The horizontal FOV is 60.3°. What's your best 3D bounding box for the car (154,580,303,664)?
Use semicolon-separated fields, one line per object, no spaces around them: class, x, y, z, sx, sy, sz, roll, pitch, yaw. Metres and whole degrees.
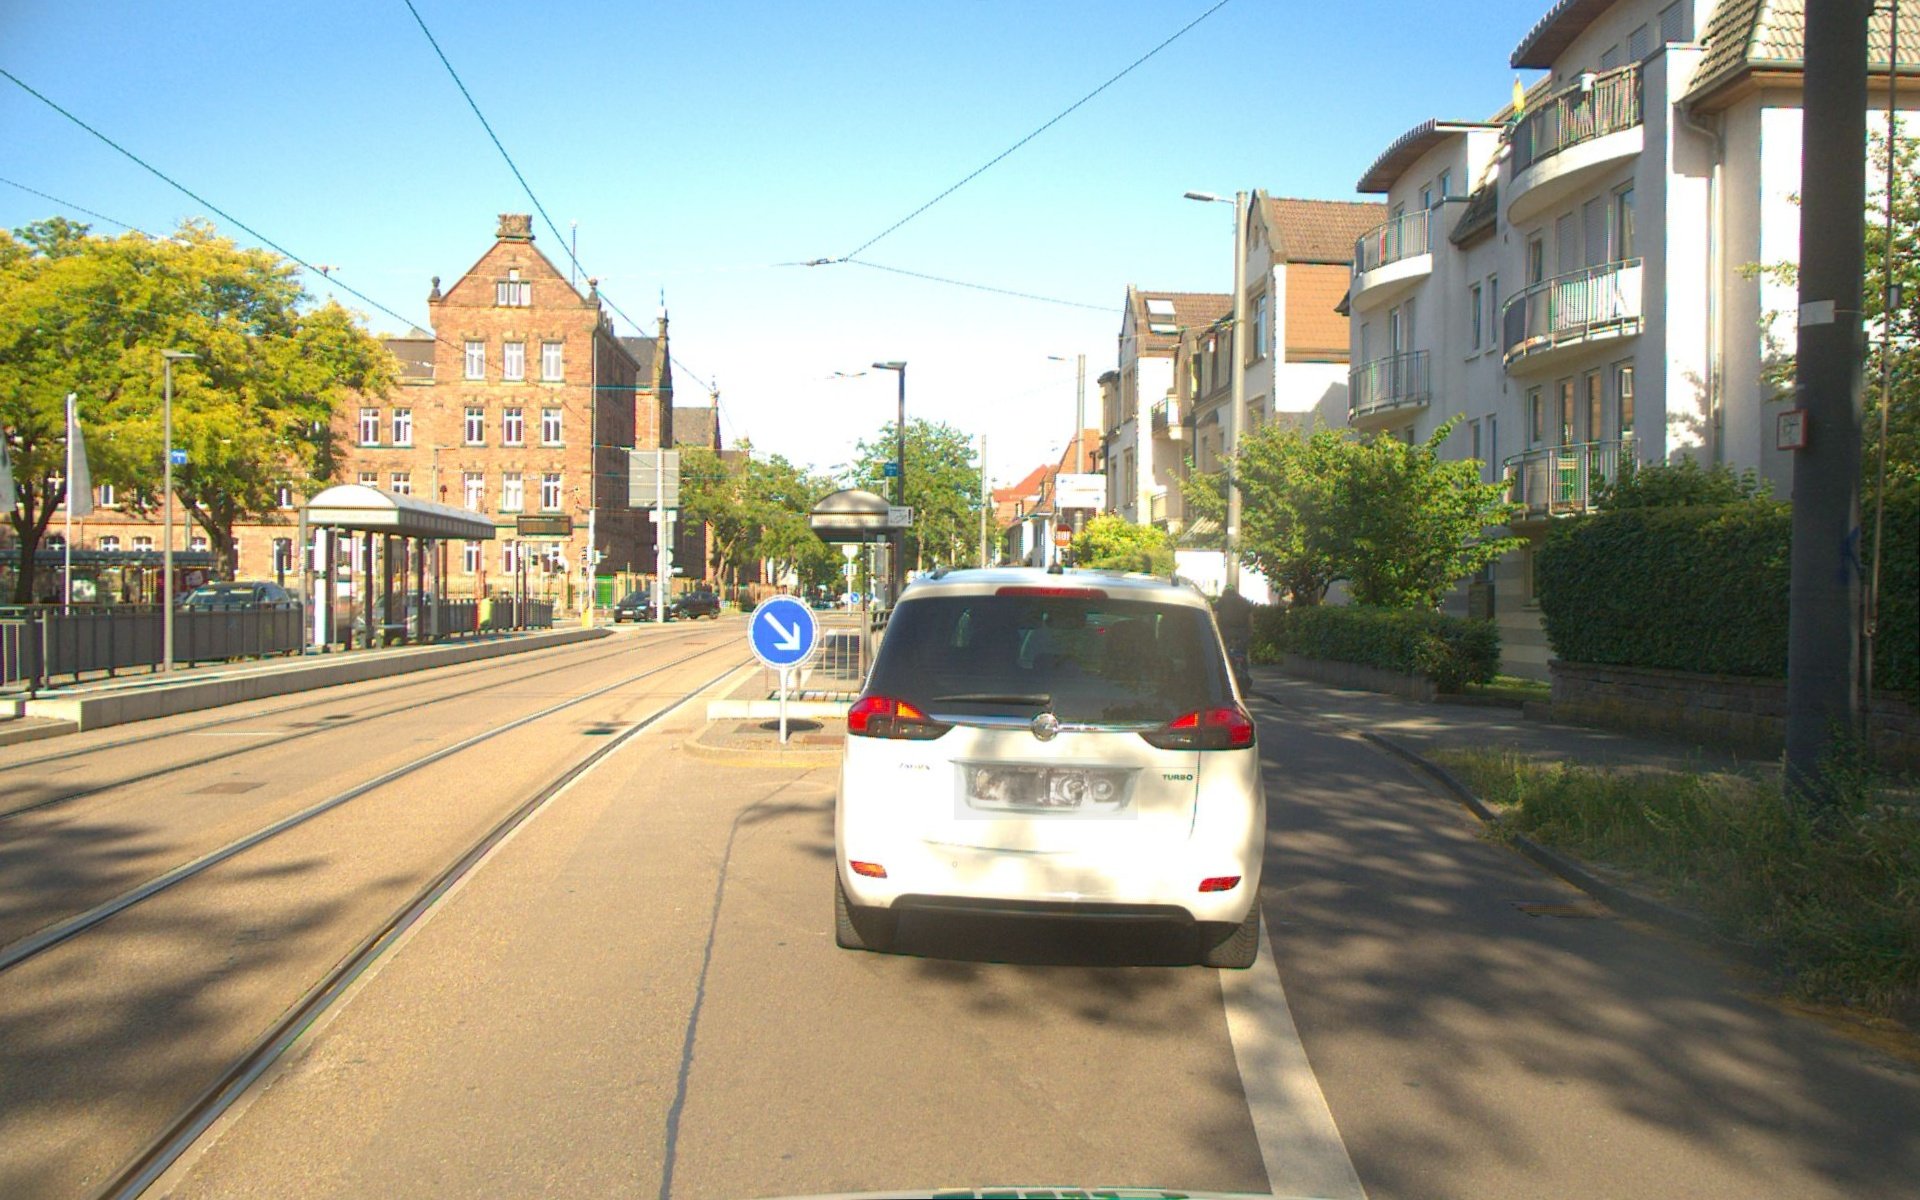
car;-15.521;0.434;35.309;1.762;1.666;4.112;-1;0;-7

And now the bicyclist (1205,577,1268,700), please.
bicyclist;3.857;0.530;23.147;0.671;1.663;1.015;1;0;-1

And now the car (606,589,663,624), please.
car;-15.386;0.300;78.360;1.953;1.573;3.999;1;0;-1

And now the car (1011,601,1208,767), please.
car;1.393;0.748;16.672;1.554;1.445;3.899;0;0;-1

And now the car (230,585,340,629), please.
car;-27.829;0.289;68.226;3.780;1.689;1.750;1;0;-1

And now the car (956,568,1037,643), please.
car;0.811;0.125;39.095;1.740;1.660;3.879;1;0;-1

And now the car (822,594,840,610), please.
car;-14.549;0.213;186.144;1.868;1.706;4.355;1;0;-3

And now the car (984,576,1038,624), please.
car;1.821;-0.003;60.021;1.740;1.660;3.879;1;0;-1

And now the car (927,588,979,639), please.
car;-0.285;0.472;59.038;1.740;1.722;3.879;1;0;-1

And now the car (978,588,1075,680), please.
car;1.252;0.629;32.442;1.739;1.660;3.880;1;0;0

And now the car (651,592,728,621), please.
car;-15.549;0.367;95.116;3.967;1.573;1.969;1;0;-43

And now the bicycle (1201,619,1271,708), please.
bicycle;3.854;0.867;23.189;0.671;1.177;1.619;1;0;-1

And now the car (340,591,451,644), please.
car;-16.069;0.458;47.316;1.846;1.440;4.621;0;0;-4

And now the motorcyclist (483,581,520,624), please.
motorcyclist;-16.741;0.096;60.385;1.103;1.552;1.053;1;0;-7

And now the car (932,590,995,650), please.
car;0.073;0.571;48.636;1.740;1.660;3.880;1;0;-1

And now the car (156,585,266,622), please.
car;-33.152;0.143;73.254;3.982;1.548;1.877;1;0;-1

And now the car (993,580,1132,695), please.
car;1.550;0.561;26.306;1.740;1.660;3.878;1;0;-3

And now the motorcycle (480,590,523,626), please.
motorcycle;-16.746;0.292;60.451;1.108;1.265;2.569;1;0;-7

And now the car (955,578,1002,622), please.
car;0.712;0.005;66.362;1.740;1.660;3.879;1;0;-1

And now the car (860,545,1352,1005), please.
car;0.457;0.656;8.041;1.798;1.670;3.916;1;0;-3
